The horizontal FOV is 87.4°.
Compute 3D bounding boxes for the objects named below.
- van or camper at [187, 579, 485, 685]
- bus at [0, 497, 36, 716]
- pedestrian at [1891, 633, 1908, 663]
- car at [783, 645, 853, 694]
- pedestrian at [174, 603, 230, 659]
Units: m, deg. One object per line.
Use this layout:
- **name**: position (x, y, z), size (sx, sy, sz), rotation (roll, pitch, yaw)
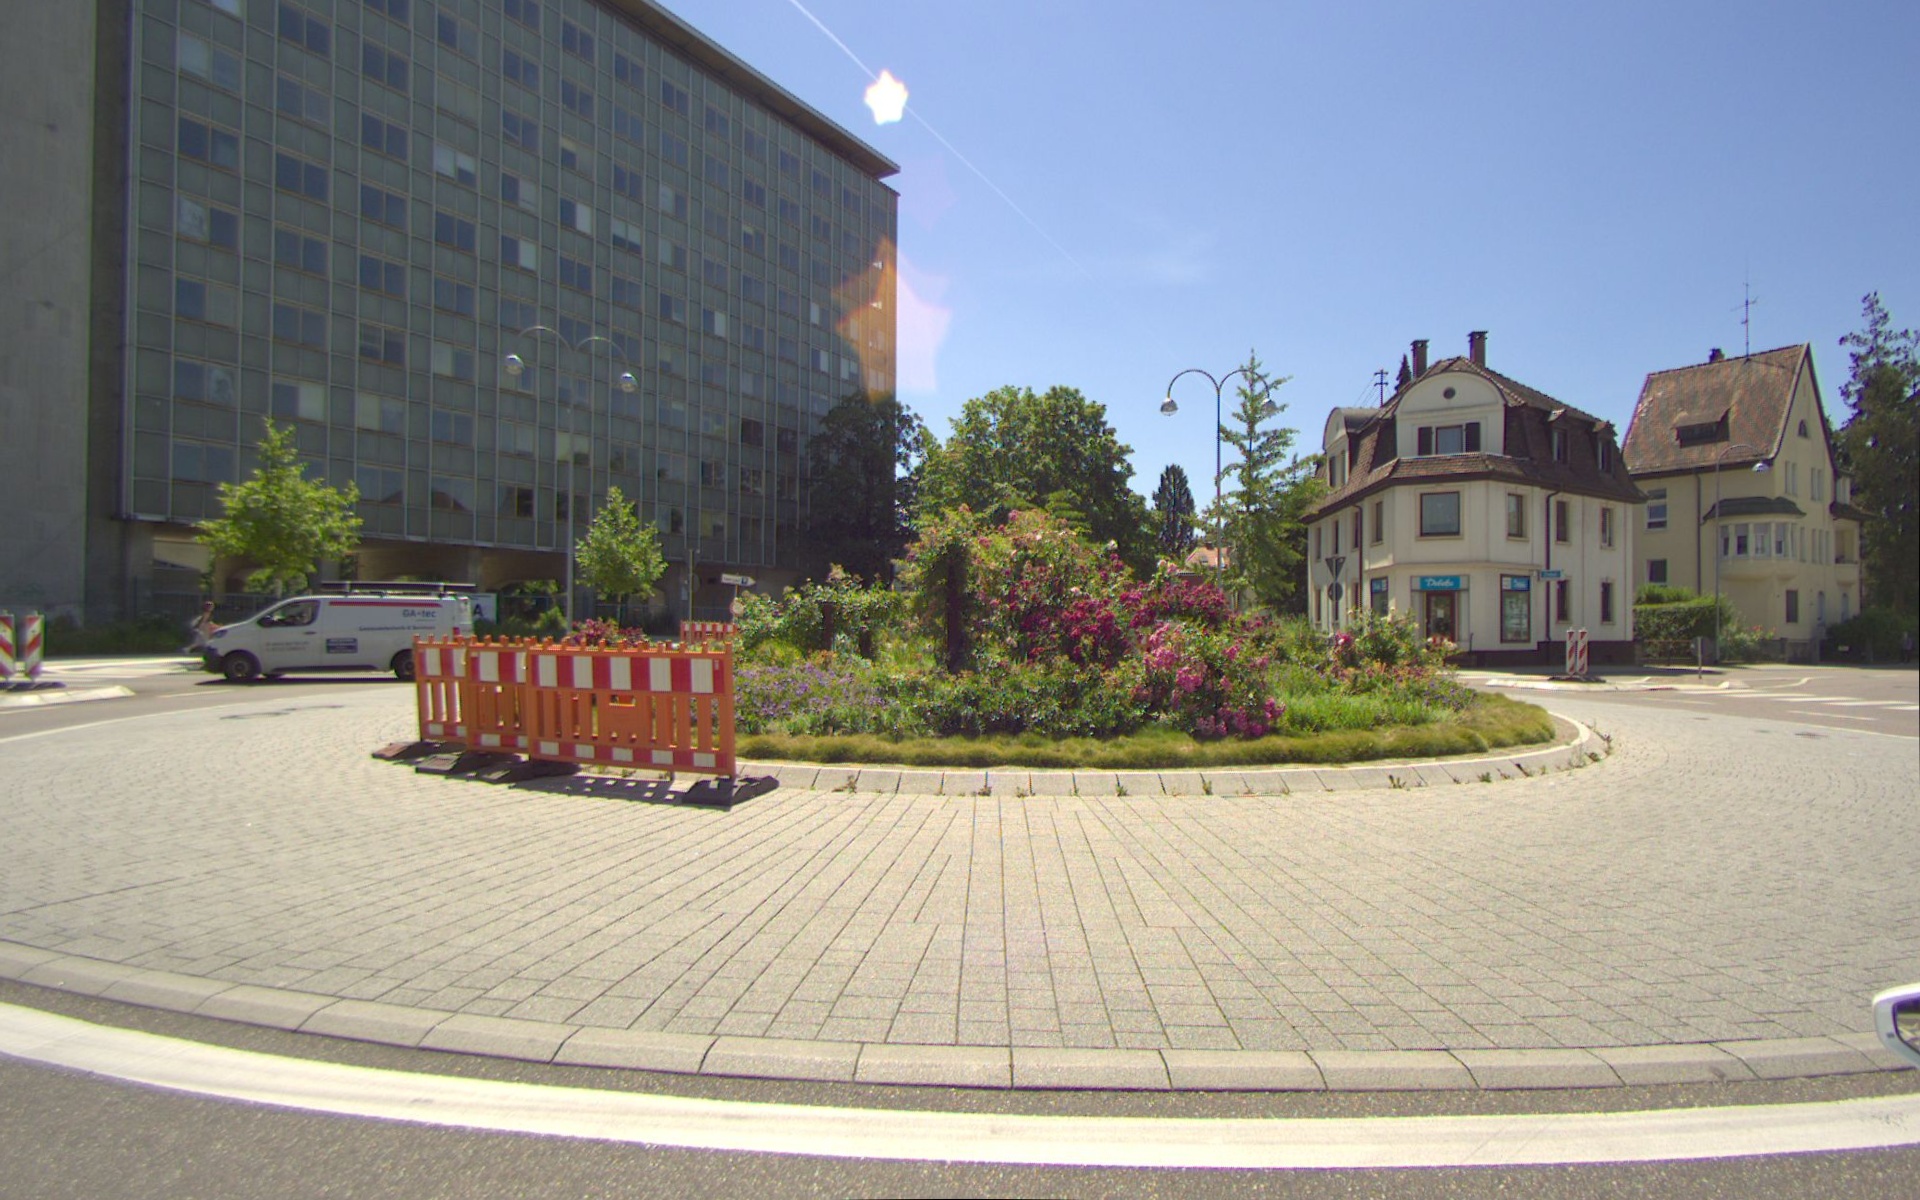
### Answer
- **van or camper**: position (-13.787, 0.688, 22.602), size (5.323, 2.200, 1.994), rotation (0, 0, -16)
- **bus**: position (-19.723, 0.034, 14.665), size (9.883, 3.369, 2.964), rotation (1, 1, 2)
- **pedestrian**: position (48.278, 2.440, 51.601), size (0.468, 1.529, 0.520), rotation (1, -1, -31)
- **car**: position (-4.986, 2.481, 35.761), size (1.755, 1.617, 3.924), rotation (-1, -4, 3)
- **pedestrian**: position (-22.385, 0.916, 29.685), size (1.271, 1.606, 0.938), rotation (2, -2, -38)
